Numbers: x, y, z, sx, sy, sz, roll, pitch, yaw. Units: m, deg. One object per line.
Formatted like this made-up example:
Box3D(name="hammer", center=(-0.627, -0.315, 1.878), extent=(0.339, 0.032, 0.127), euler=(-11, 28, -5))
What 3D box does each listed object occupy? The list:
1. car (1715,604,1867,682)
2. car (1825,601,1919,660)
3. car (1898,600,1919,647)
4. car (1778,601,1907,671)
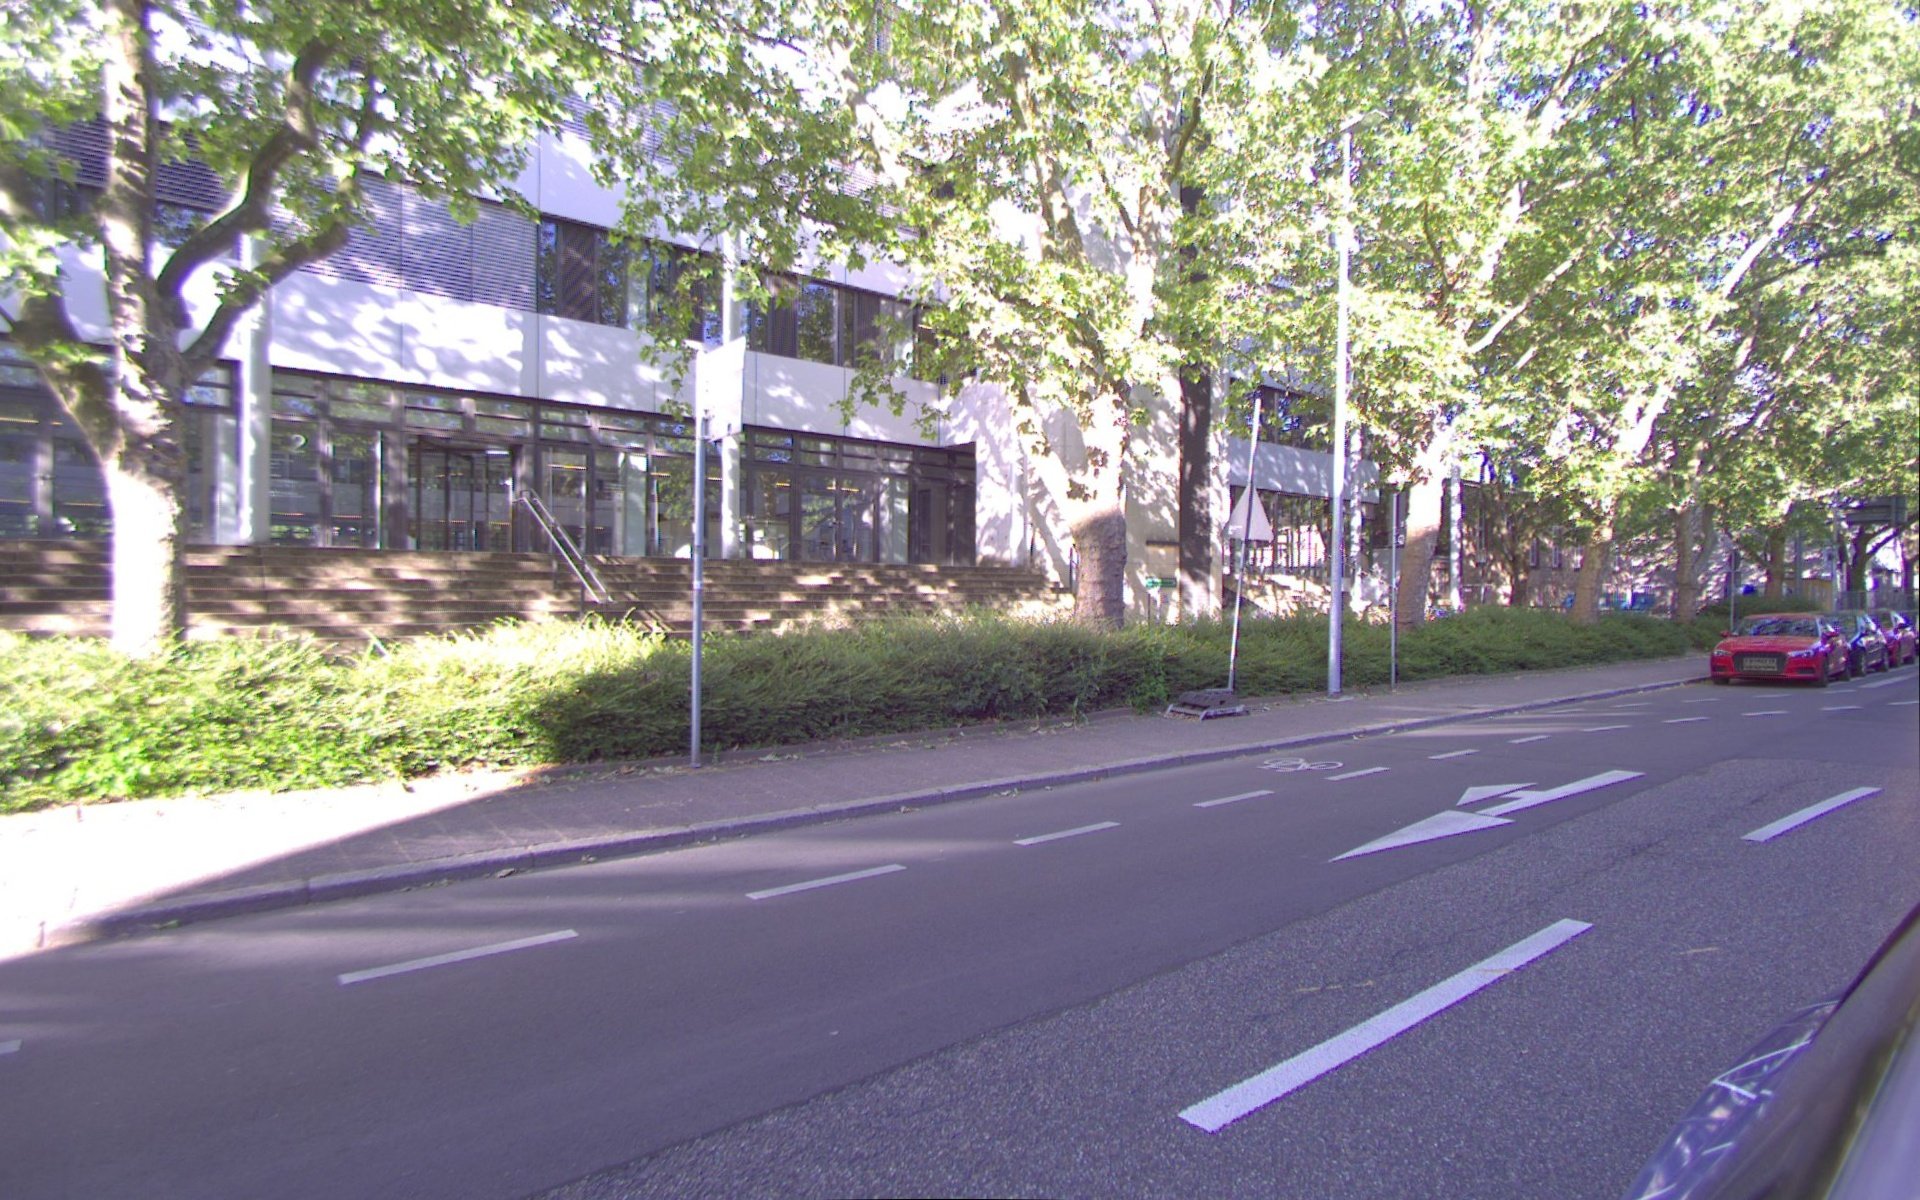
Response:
Box3D(name="car", center=(16.979, 0.824, 20.612), extent=(3.961, 1.439, 1.722), euler=(0, -2, -41))
Box3D(name="car", center=(24.461, 0.759, 26.893), extent=(3.714, 1.452, 1.665), euler=(0, 0, -40))
Box3D(name="car", center=(31.975, 0.751, 32.912), extent=(3.929, 1.469, 1.685), euler=(0, 0, -40))
Box3D(name="car", center=(20.598, 0.780, 23.571), extent=(3.929, 1.486, 1.684), euler=(0, -1, -40))
